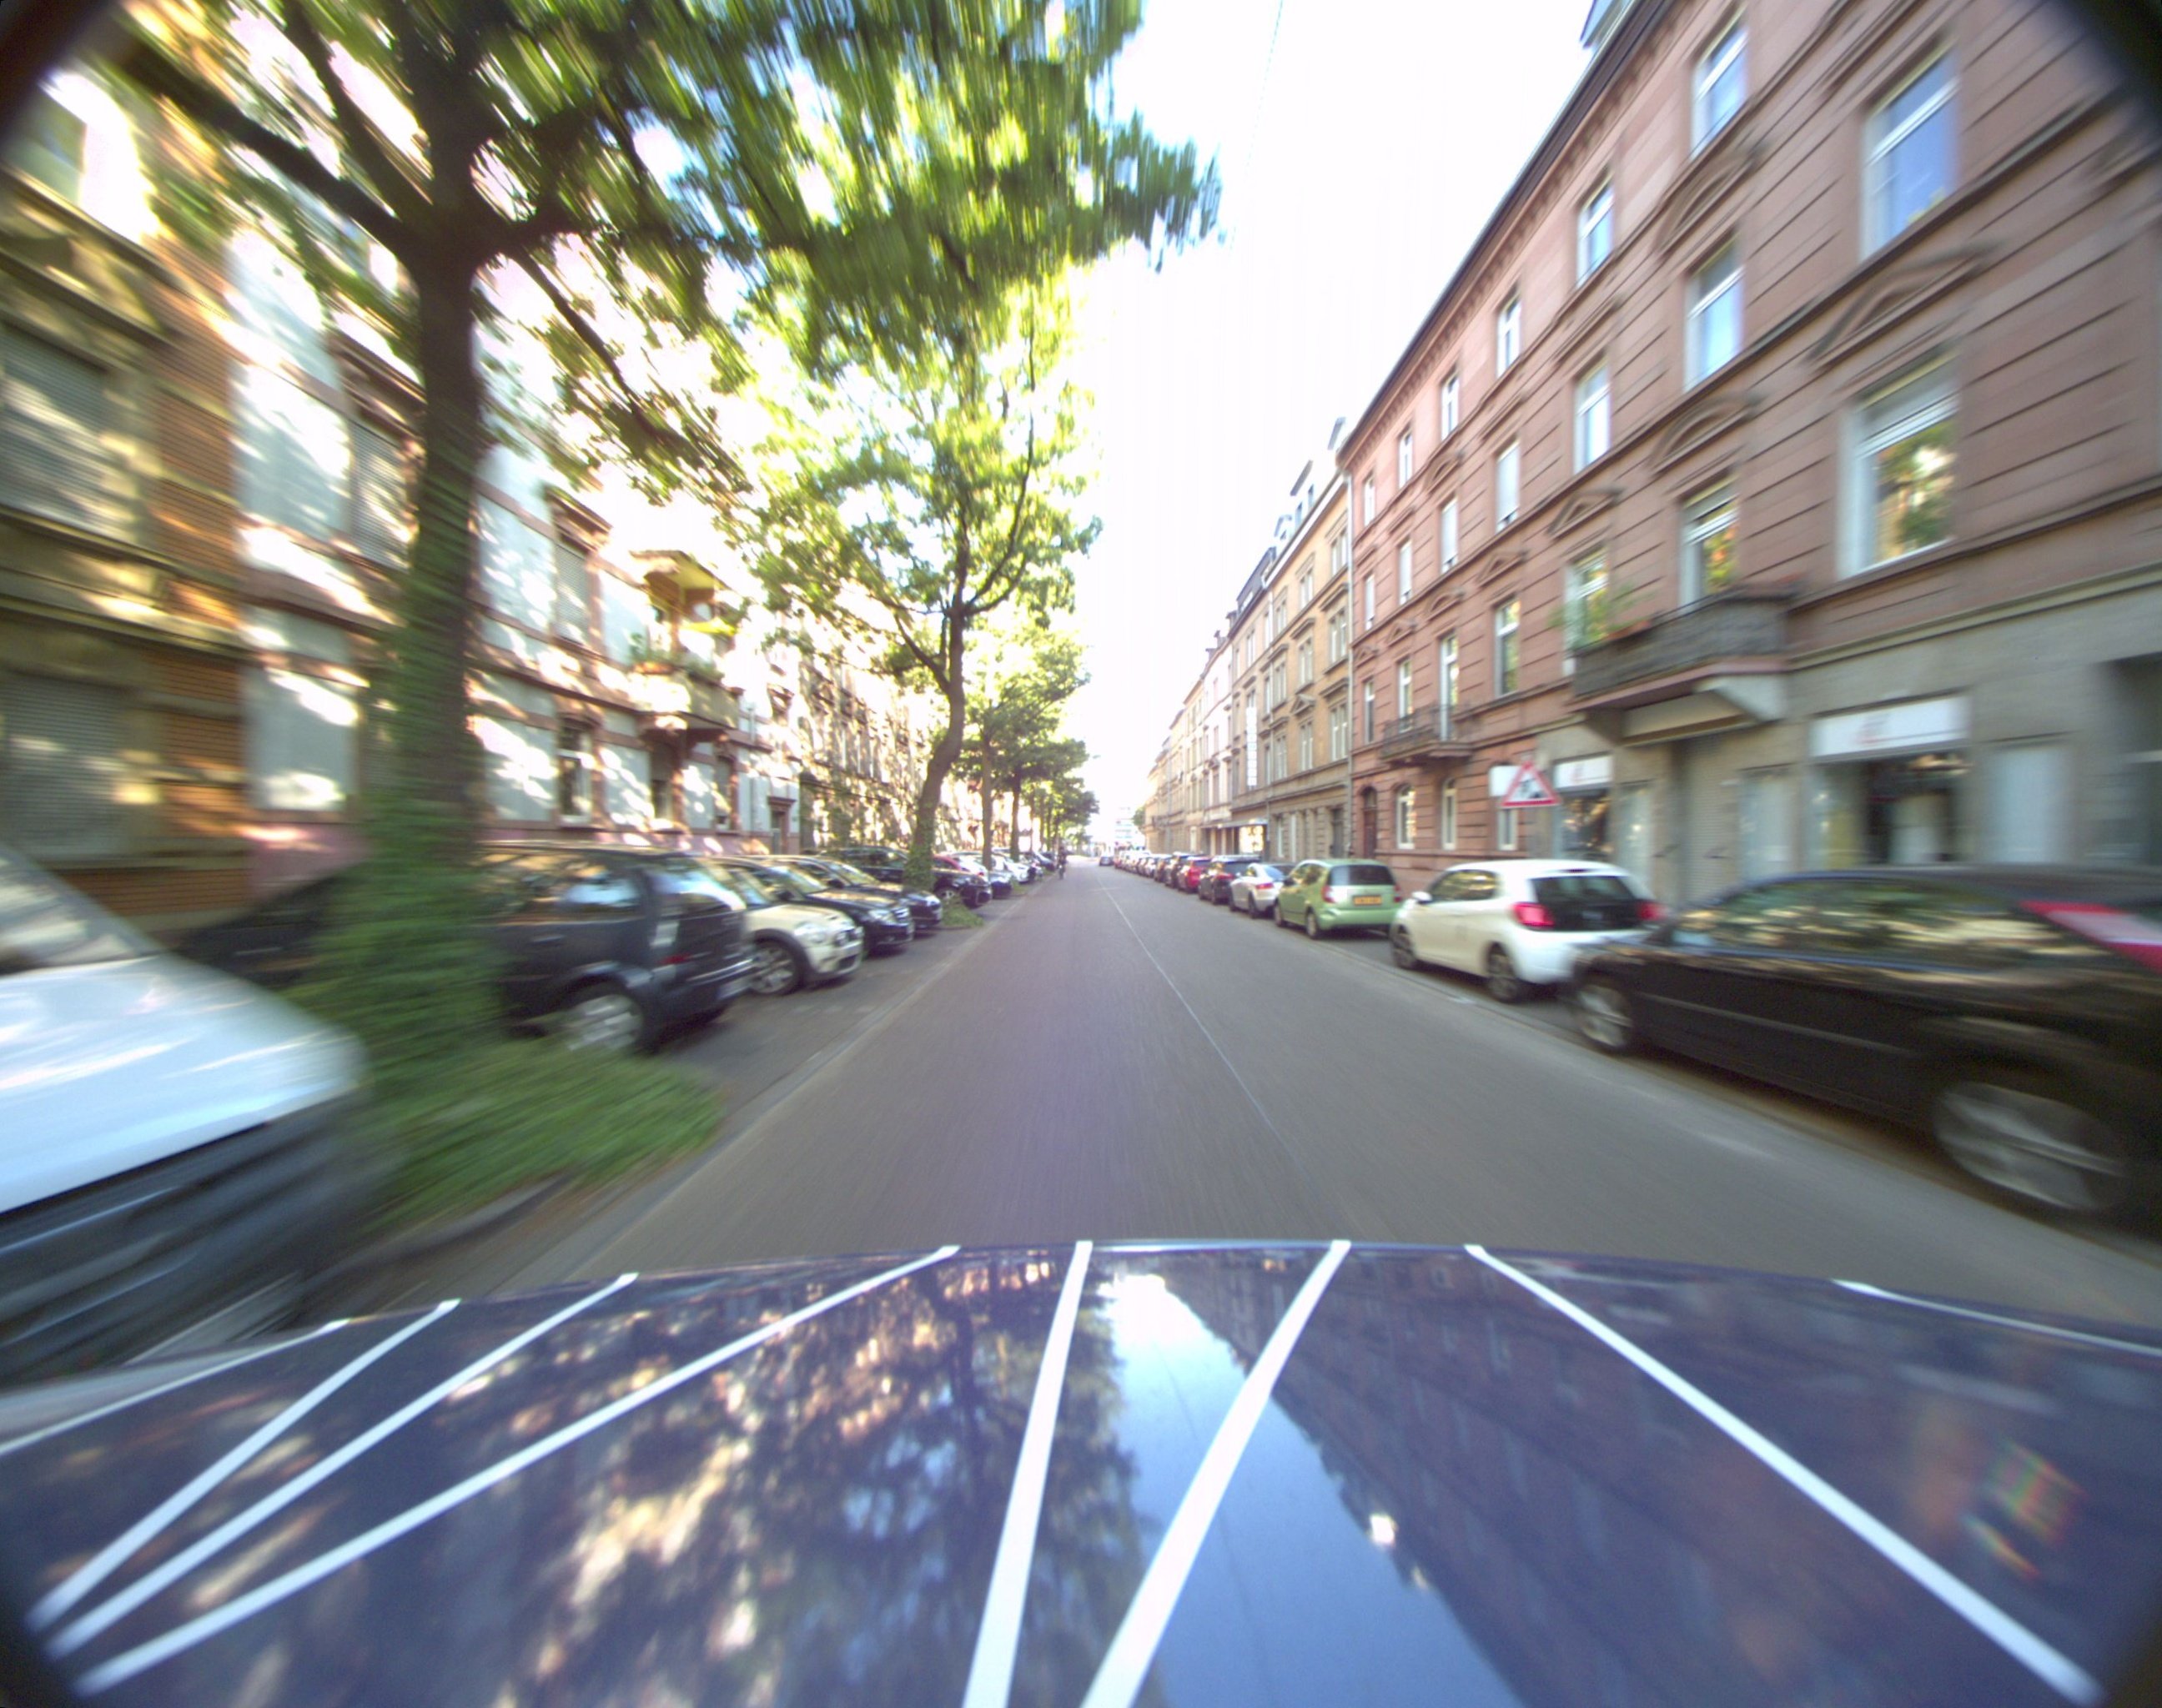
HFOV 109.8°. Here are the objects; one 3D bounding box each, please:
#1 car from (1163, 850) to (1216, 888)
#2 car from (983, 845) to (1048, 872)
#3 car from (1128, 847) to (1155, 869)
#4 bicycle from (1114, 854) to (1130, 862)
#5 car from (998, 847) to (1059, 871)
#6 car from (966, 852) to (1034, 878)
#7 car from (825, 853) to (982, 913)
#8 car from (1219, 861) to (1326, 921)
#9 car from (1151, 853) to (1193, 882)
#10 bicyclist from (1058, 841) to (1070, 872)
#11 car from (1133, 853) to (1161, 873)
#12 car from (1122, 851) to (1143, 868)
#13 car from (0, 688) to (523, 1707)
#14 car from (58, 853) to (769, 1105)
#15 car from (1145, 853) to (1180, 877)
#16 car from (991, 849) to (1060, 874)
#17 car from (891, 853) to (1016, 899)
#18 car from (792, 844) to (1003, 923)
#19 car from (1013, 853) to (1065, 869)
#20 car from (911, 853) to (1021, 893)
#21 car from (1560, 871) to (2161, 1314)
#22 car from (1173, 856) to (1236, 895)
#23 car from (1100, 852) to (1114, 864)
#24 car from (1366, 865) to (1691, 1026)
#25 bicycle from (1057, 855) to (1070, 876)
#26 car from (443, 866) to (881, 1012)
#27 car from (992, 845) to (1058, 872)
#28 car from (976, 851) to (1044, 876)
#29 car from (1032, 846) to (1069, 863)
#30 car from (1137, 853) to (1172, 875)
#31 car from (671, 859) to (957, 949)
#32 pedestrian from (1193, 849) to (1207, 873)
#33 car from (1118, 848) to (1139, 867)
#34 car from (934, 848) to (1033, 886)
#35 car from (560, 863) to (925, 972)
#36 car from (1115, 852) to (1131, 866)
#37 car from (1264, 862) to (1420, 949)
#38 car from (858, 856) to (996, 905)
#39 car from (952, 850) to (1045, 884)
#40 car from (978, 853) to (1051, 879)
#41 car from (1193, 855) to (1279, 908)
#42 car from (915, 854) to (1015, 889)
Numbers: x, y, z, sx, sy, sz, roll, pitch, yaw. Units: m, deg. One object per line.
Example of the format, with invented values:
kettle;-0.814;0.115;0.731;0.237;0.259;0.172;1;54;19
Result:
car;4.952;0.653;35.167;1.825;1.591;4.313;-2;0;0
car;-4.408;0.299;51.493;4.135;1.778;1.945;0;0;2
car;5.078;0.324;64.511;1.847;1.822;4.606;-1;0;-1
bicycle;5.464;0.551;101.115;2.043;1.092;0.587;-1;1;2
car;-4.337;0.390;62.731;4.684;1.879;1.904;1;0;-21
car;-4.875;0.652;46.236;3.998;1.486;1.686;0;1;-3
car;-4.819;0.778;21.094;3.998;1.581;1.782;0;1;-3
car;4.759;0.871;19.439;1.709;1.315;4.101;0;0;0
car;4.943;0.700;41.960;1.867;1.464;4.488;0;0;1
bicyclist;-1.051;0.149;46.773;0.712;1.865;1.120;1;1;0
car;5.108;0.648;59.152;1.751;1.464;4.244;0;0;-1
car;5.069;0.516;75.638;1.771;1.648;4.157;-1;0;0
car;-4.491;0.670;1.484;5.104;1.930;2.157;0;4;0
car;-4.724;0.814;5.883;3.895;1.639;1.724;0;1;-2
car;5.128;0.672;48.396;1.761;1.464;4.087;0;0;-1
car;-4.054;0.518;55.787;4.933;1.623;2.077;2;0;-3
car;-4.363;0.745;26.400;3.997;1.380;1.677;3;1;-1
car;-4.309;0.683;18.415;4.658;1.692;1.881;2;0;-3
car;-3.767;0.626;68.550;4.468;1.360;1.903;2;0;2
car;-4.599;0.740;30.782;4.234;1.527;1.800;0;0;-3
car;4.786;0.924;4.231;1.652;1.464;3.999;-3;0;0
car;4.947;0.817;30.982;1.825;1.417;4.313;-2;0;0
car;3.467;0.511;102.299;1.868;1.620;3.825;-1;0;2
car;5.030;0.904;9.264;1.586;1.464;3.999;0;0;0
bicycle;-1.070;0.669;46.731;0.712;1.252;1.887;1;0;0
car;-4.657;0.902;8.903;4.115;1.494;1.811;0;1;1
car;-4.333;0.352;58.983;4.933;1.890;2.175;2;0;-3
car;-4.493;0.615;48.724;4.156;1.446;1.936;2;0;-1
car;-4.129;0.085;103.587;4.699;1.966;1.925;5;1;1
car;5.038;0.667;52.931;1.891;1.436;4.541;0;0;-1
car;-4.771;0.858;14.073;4.563;1.521;2.000;0;1;2
pedestrian;7.968;0.451;50.913;0.697;1.622;1.018;0;1;-1
car;5.068;0.352;81.809;1.947;2.045;4.744;-1;0;0
car;-4.573;0.592;36.129;4.487;1.647;1.891;0;2;-1
car;-4.920;0.900;11.563;4.671;1.494;1.932;0;1;0
car;4.831;0.572;87.340;1.641;1.482;3.825;-1;0;0
car;4.906;0.893;14.882;1.709;1.431;3.959;0;0;0
car;-4.715;0.798;23.691;3.998;1.454;1.782;0;1;-3
car;-4.158;0.632;38.901;4.486;1.647;1.891;0;2;2
car;-3.761;0.693;43.650;3.997;1.448;1.687;0;1;1
car;4.875;0.820;24.436;1.825;1.468;4.423;-2;0;0
car;-5.047;0.759;33.451;4.110;1.461;1.801;0;0;1
